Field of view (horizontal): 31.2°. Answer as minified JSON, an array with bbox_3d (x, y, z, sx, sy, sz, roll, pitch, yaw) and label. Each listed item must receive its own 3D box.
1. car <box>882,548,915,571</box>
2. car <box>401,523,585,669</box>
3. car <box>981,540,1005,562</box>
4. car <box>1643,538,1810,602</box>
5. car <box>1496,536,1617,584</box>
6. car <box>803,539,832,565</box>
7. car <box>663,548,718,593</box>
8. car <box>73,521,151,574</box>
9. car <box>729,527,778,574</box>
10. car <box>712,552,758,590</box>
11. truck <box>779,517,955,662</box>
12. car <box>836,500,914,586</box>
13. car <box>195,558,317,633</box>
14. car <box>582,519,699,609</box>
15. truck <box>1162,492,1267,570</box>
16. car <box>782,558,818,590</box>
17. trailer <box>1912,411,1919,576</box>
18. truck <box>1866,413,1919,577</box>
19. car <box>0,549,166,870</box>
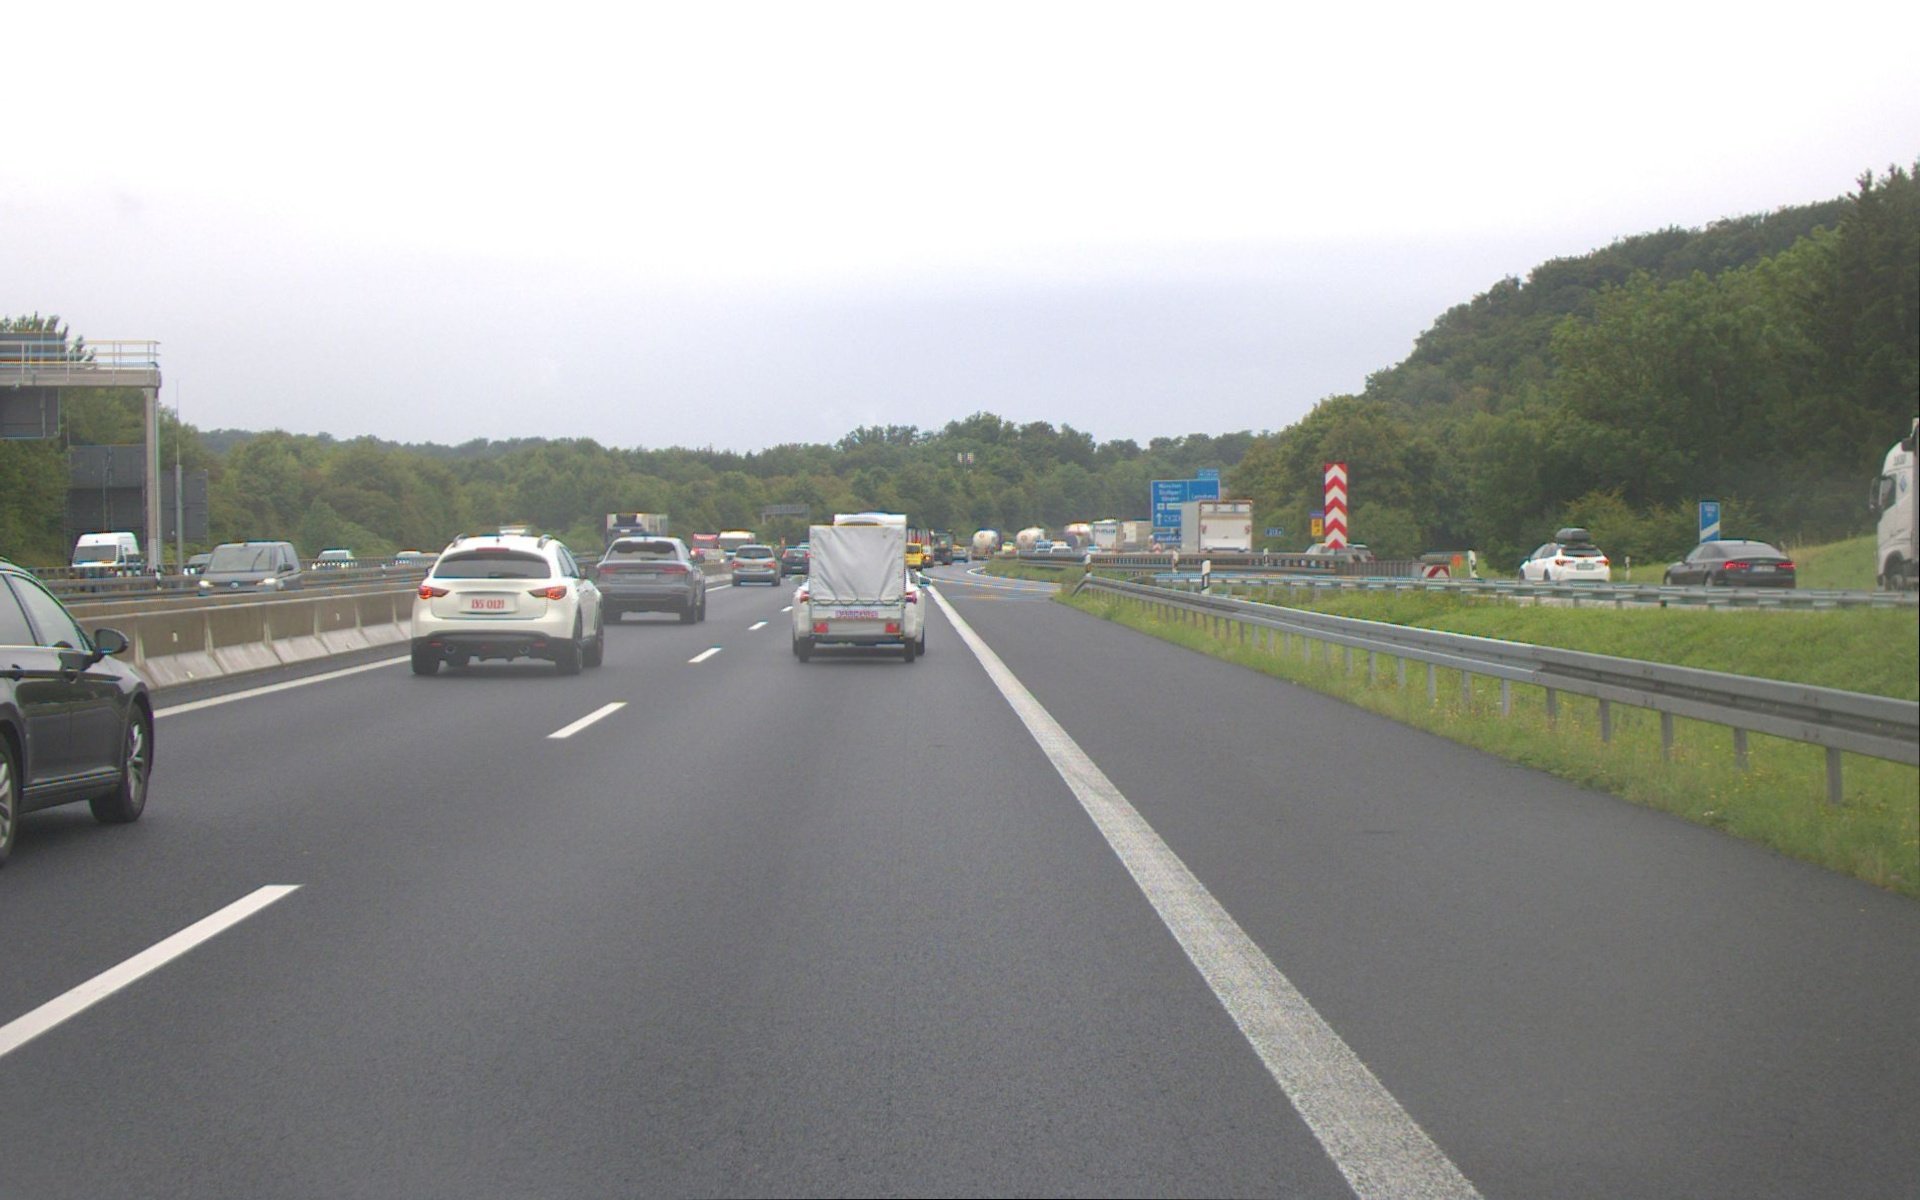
[{"bbox_3d":[-4.408,-2.883,244.722,1.993,1.546,4.001,1,1,-6],"label":"car"},{"bbox_3d":[-5.588,-0.084,41.621,2.048,1.665,4.542,1,1,-6],"label":"car"},{"bbox_3d":[2.460,-3.670,256.341,1.645,1.568,4.000,1,1,-1],"label":"car"},{"bbox_3d":[16.922,-0.669,76.168,1.986,1.372,5.320,0,1,-6],"label":"car"},{"bbox_3d":[17.553,-1.181,101.361,1.985,1.372,5.080,0,1,-9],"label":"car"},{"bbox_3d":[-8.837,-2.965,213.616,1.645,1.568,4.000,1,1,-1],"label":"car"},{"bbox_3d":[-10.254,-1.137,130.827,1.819,1.656,4.017,0,1,-1],"label":"car"},{"bbox_3d":[-35.966,-2.230,145.923,1.993,2.206,5.716,-1,1,-1],"label":"car"},{"bbox_3d":[-8.006,-1.924,133.379,1.738,1.787,4.000,1,1,-1],"label":"car"},{"bbox_3d":[-10.123,-1.307,154.858,1.819,1.656,4.017,0,1,-1],"label":"car"},{"bbox_3d":[-1.303,-0.194,47.374,2.242,1.833,6.585,0,1,-2],"label":"truck"},{"bbox_3d":[-2.791,-1.852,111.024,2.331,2.716,6.541,0,1,-3],"label":"car"},{"bbox_3d":[-16.599,-0.136,81.277,1.993,1.645,5.027,1,1,-2],"label":"car"},{"bbox_3d":[-6.309,-0.753,68.357,1.975,1.697,4.803,1,1,-1],"label":"car"},{"bbox_3d":[12.369,-3.339,167.809,3.824,3.646,8.273,1,1,-5],"label":"truck"},{"bbox_3d":[-8.123,-1.347,174.984,1.645,1.568,4.000,1,1,-1],"label":"car"},{"bbox_3d":[22.356,-2.189,69.615,2.937,3.515,8.421,1,1,-6],"label":"trailer"},{"bbox_3d":[21.916,-2.216,73.444,2.937,3.515,5.928,1,1,-6],"label":"truck"},{"bbox_3d":[-5.296,0.484,16.767,1.787,1.454,4.802,1,1,-1],"label":"car"}]
